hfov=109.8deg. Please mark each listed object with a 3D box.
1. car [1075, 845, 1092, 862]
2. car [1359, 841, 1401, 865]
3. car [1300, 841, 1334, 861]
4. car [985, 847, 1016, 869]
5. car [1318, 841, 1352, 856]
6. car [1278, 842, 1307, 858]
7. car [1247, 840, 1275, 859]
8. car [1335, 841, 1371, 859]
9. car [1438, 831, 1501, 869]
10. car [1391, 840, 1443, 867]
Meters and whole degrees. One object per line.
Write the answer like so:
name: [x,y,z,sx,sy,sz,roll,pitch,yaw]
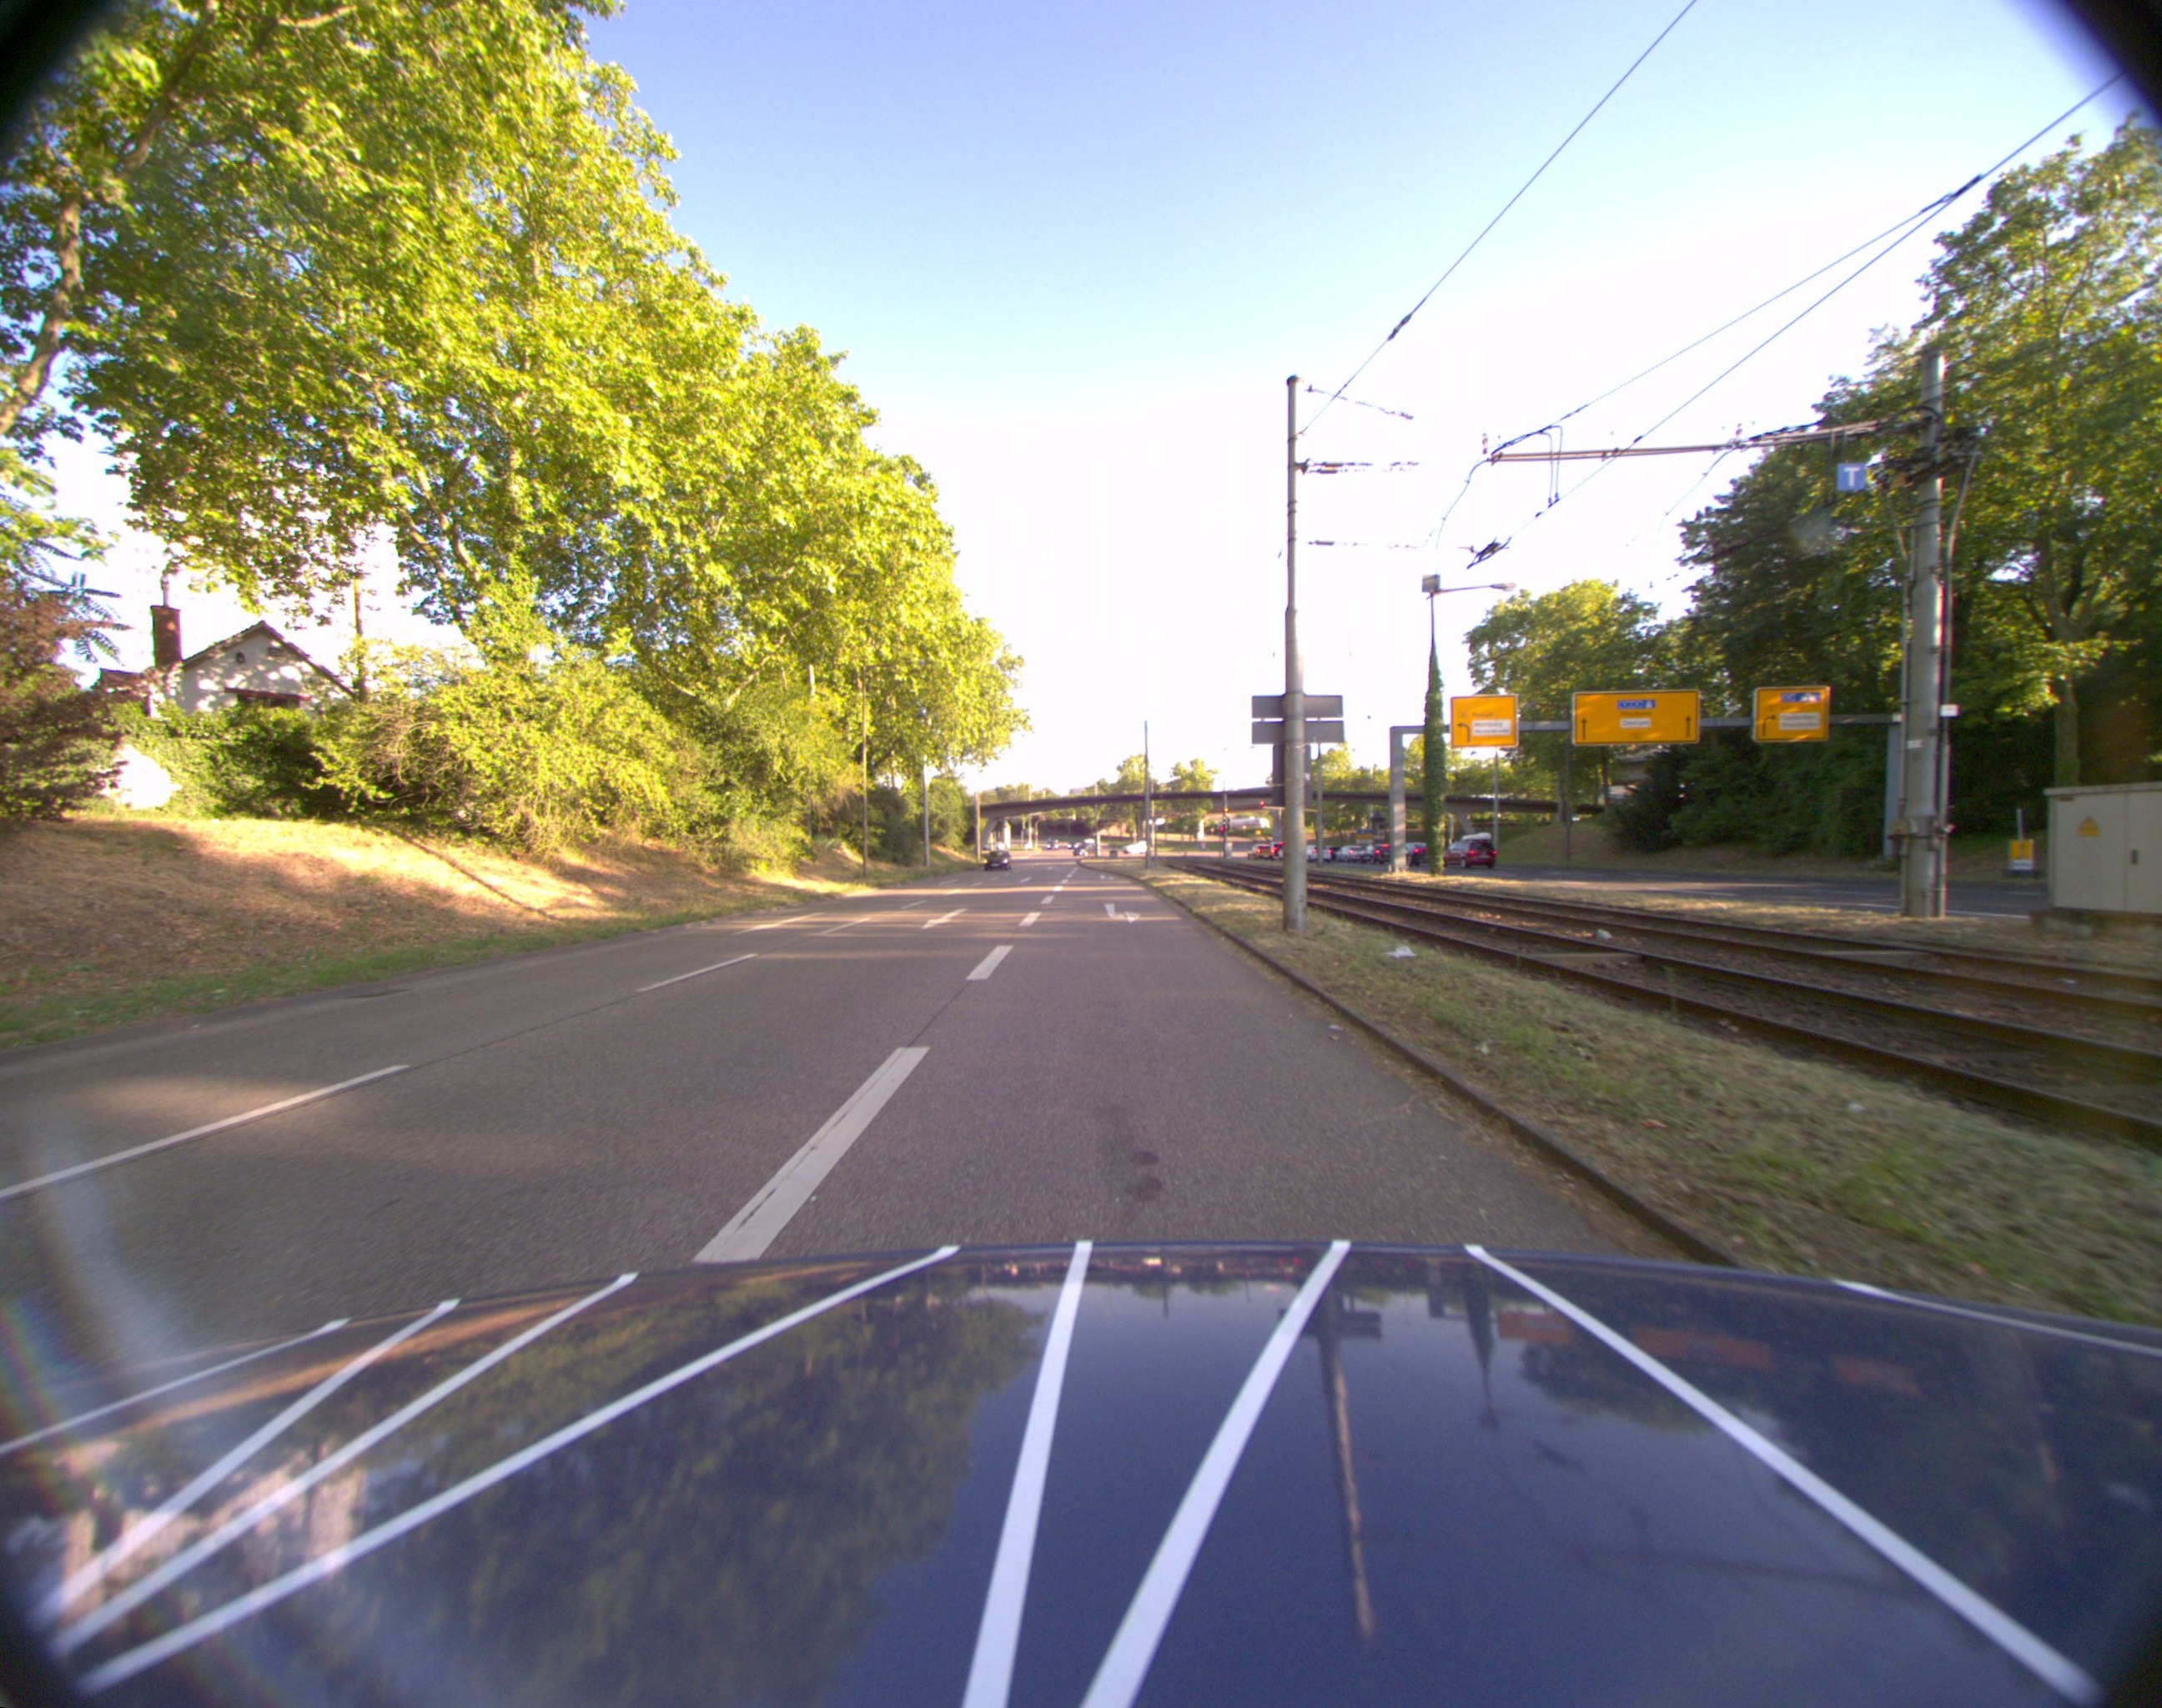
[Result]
car: [0.310,-0.122,99.181,1.998,2.150,4.191,-2,1,3]
car: [23.301,-0.100,59.316,1.796,1.740,3.999,-2,1,2]
car: [20.085,-0.307,64.847,1.667,1.556,4.190,-2,1,2]
car: [-5.776,0.264,54.850,1.628,1.434,3.984,-2,1,1]
car: [24.438,-0.547,73.290,1.796,1.375,4.476,-2,1,2]
car: [19.973,-0.364,71.834,1.745,1.424,4.411,1,1,4]
car: [16.148,-0.436,68.319,1.667,1.556,3.999,-2,1,2]
car: [23.970,-0.346,67.054,1.796,1.473,3.999,-2,1,2]
car: [23.190,-0.285,45.528,1.796,2.093,3.999,-2,1,1]
car: [23.142,-0.057,52.455,1.796,1.740,4.240,-2,1,2]
